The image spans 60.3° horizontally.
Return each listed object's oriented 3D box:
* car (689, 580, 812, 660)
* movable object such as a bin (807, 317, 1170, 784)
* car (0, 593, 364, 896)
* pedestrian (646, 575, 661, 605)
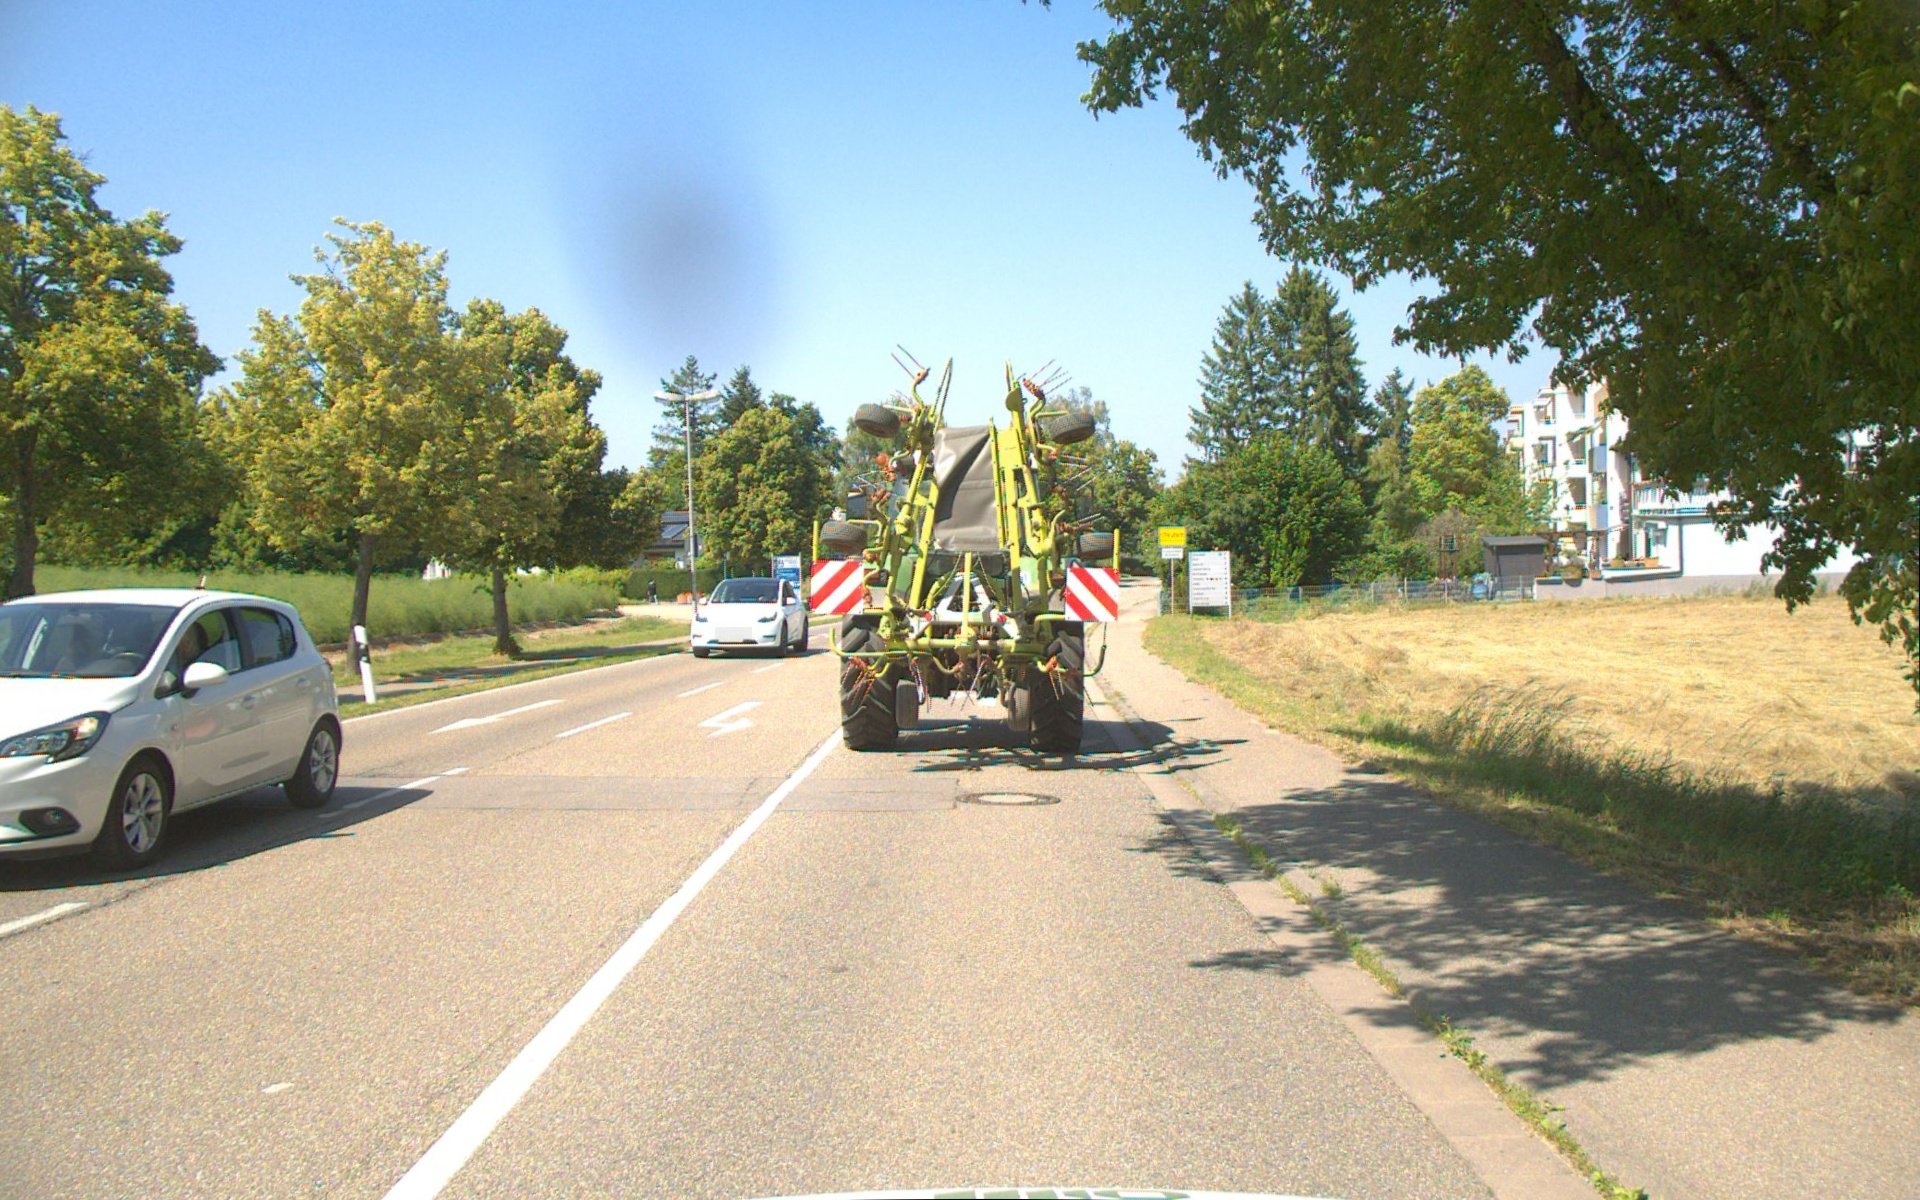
[{"bbox_3d":[-4.406,0.372,35.484,1.837,1.599,4.474,0,1,3],"label":"car"},{"bbox_3d":[0.065,-0.460,17.782,2.795,3.603,9.697,1,1,-2],"label":"movable object such as a bin"},{"bbox_3d":[-5.094,0.692,9.957,1.615,1.459,3.896,0,0,0],"label":"car"},{"bbox_3d":[-17.788,-0.567,96.080,0.541,1.746,0.672,1,0,42],"label":"pedestrian"}]
